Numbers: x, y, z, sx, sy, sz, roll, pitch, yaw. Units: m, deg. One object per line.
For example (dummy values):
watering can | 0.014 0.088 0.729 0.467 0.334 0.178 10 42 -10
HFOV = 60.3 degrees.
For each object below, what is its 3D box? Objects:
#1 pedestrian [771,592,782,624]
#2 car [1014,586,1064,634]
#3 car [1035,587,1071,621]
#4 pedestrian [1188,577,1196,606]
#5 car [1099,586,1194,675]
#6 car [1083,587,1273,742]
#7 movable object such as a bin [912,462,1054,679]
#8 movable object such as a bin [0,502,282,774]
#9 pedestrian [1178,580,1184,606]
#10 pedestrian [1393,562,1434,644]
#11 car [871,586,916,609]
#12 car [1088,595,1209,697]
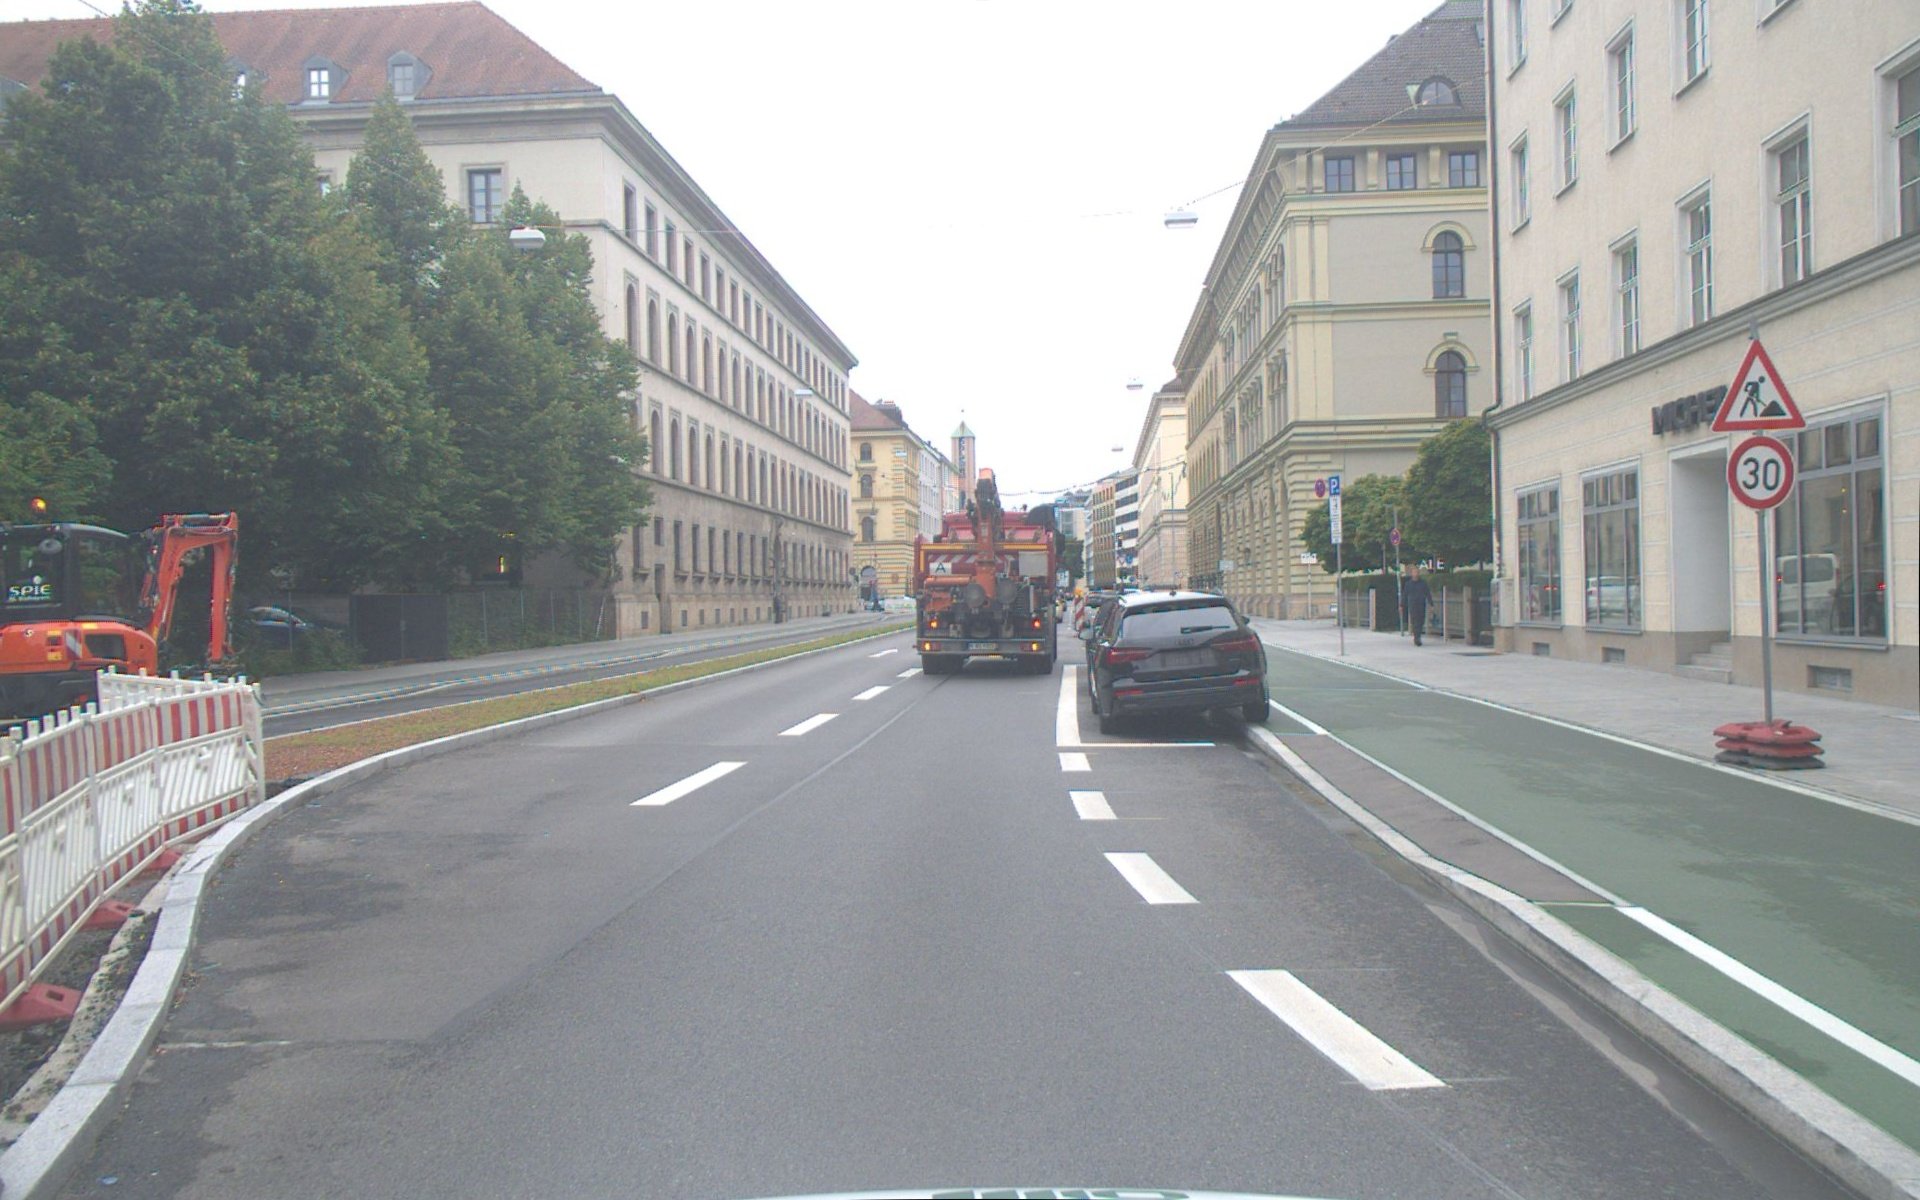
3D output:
pedestrian | -10.649 0.458 96.087 0.576 1.863 0.499 -1 0 3
car | 2.675 0.312 55.699 1.576 1.521 3.426 -2 0 4
car | 4.383 0.163 77.775 1.576 1.521 3.426 -2 0 4
pedestrian | 15.481 -0.564 110.377 0.436 1.868 0.556 -2 0 5
car | 3.429 0.518 30.821 1.576 1.521 3.426 -2 0 4
car | 2.384 0.637 19.112 1.764 1.505 4.689 -2 0 3
movable object such as a bin | 0.548 -0.530 31.246 2.373 3.674 5.854 -1 0 3
movable object such as a bin | -9.602 0.378 18.828 1.954 2.687 4.663 -2 0 -3
pedestrian | 14.768 -0.459 110.454 0.330 1.701 0.440 -2 0 5
pedestrian | 10.673 0.066 38.925 0.773 1.868 0.777 -2 0 5
car | -6.198 -0.232 154.376 3.902 1.981 2.001 -2 0 6
car | 2.836 0.642 25.583 1.645 1.410 4.429 0 0 4
